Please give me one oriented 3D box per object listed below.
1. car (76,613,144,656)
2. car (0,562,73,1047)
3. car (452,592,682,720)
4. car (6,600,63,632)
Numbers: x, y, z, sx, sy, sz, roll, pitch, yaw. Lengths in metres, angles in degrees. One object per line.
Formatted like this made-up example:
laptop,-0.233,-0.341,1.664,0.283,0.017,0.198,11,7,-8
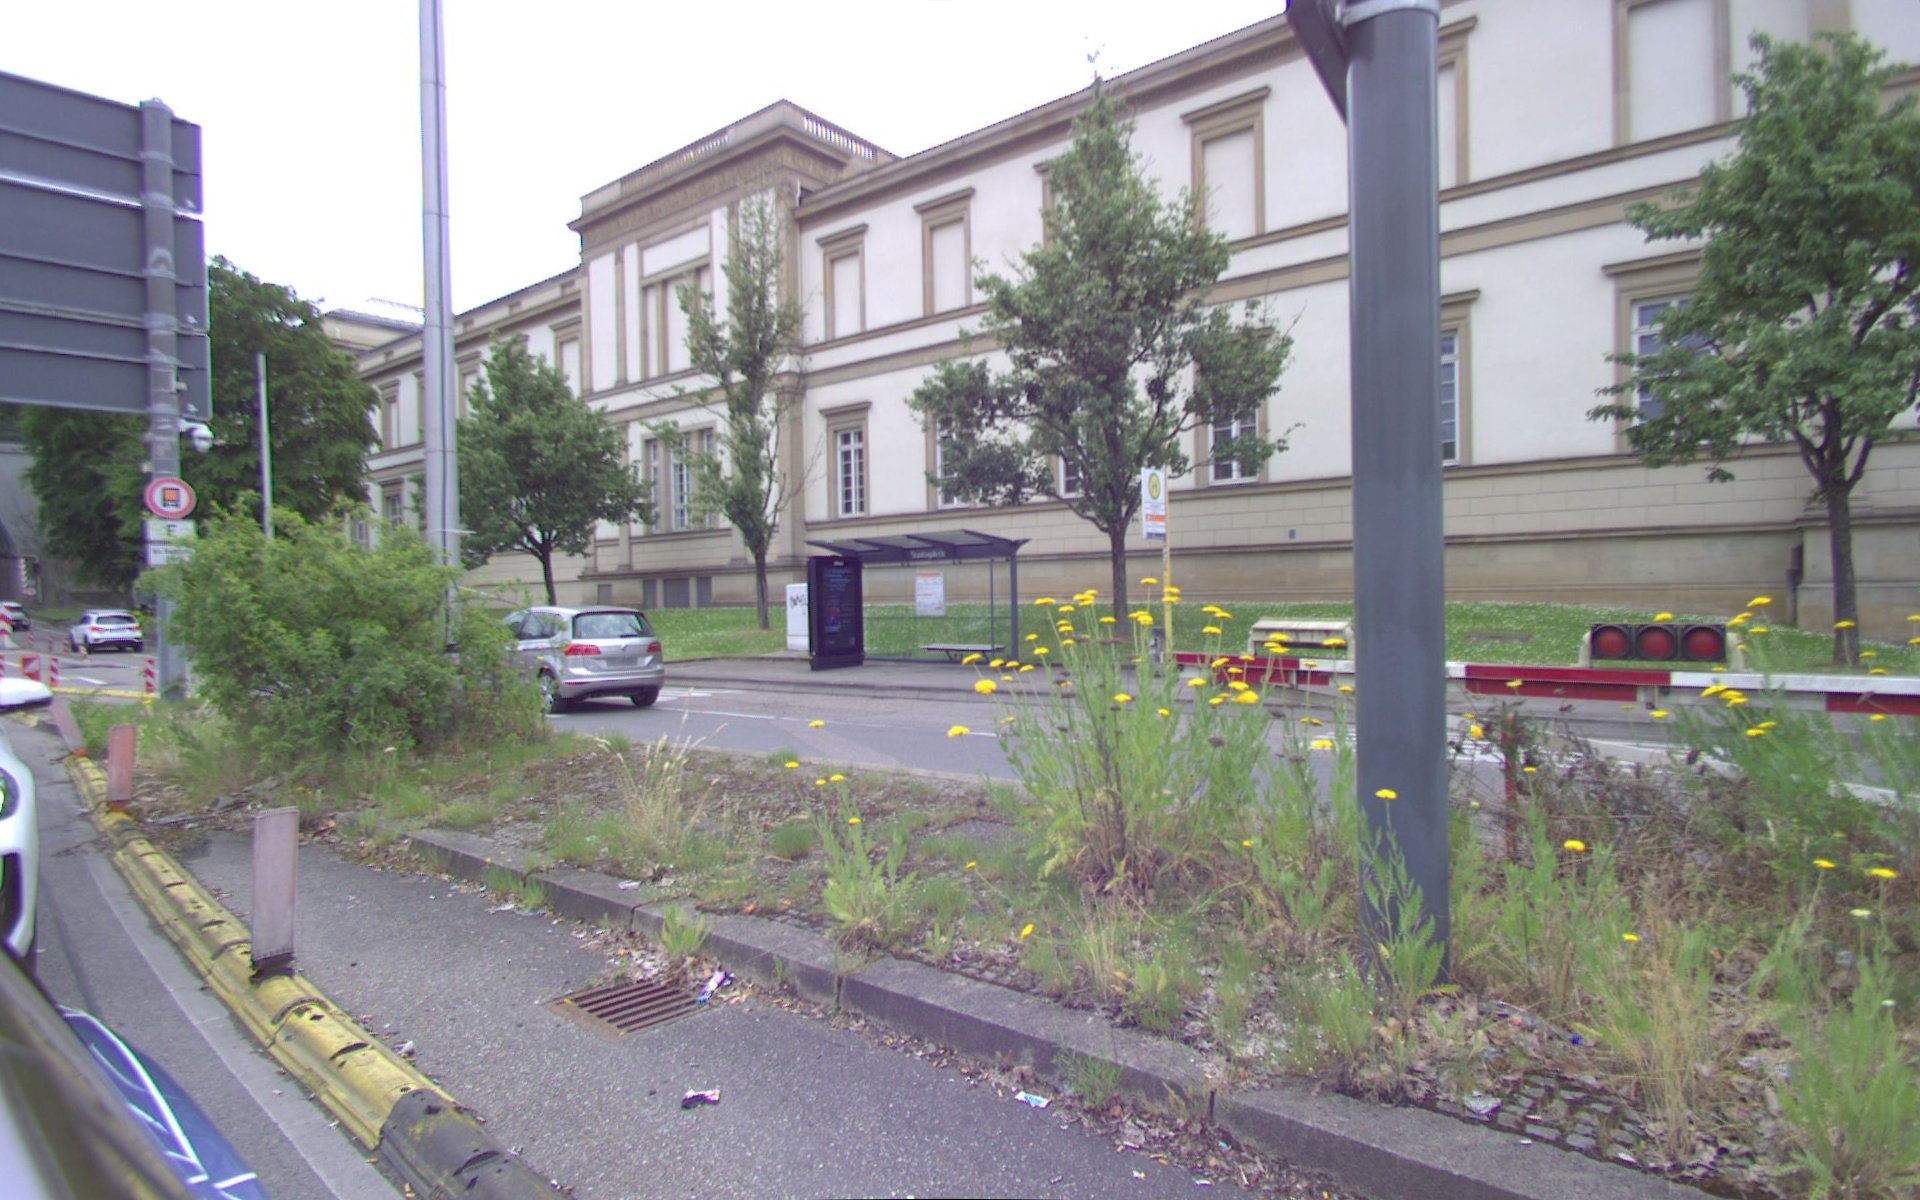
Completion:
car,-34.670,1.393,41.245,1.876,1.637,4.111,-1,-1,-43
car,-5.137,0.713,4.019,3.668,1.637,1.962,-1,0,41
car,-6.254,0.778,15.885,4.000,1.759,1.812,-1,0,43
car,-52.662,0.900,57.570,4.265,1.704,1.851,-1,0,40
